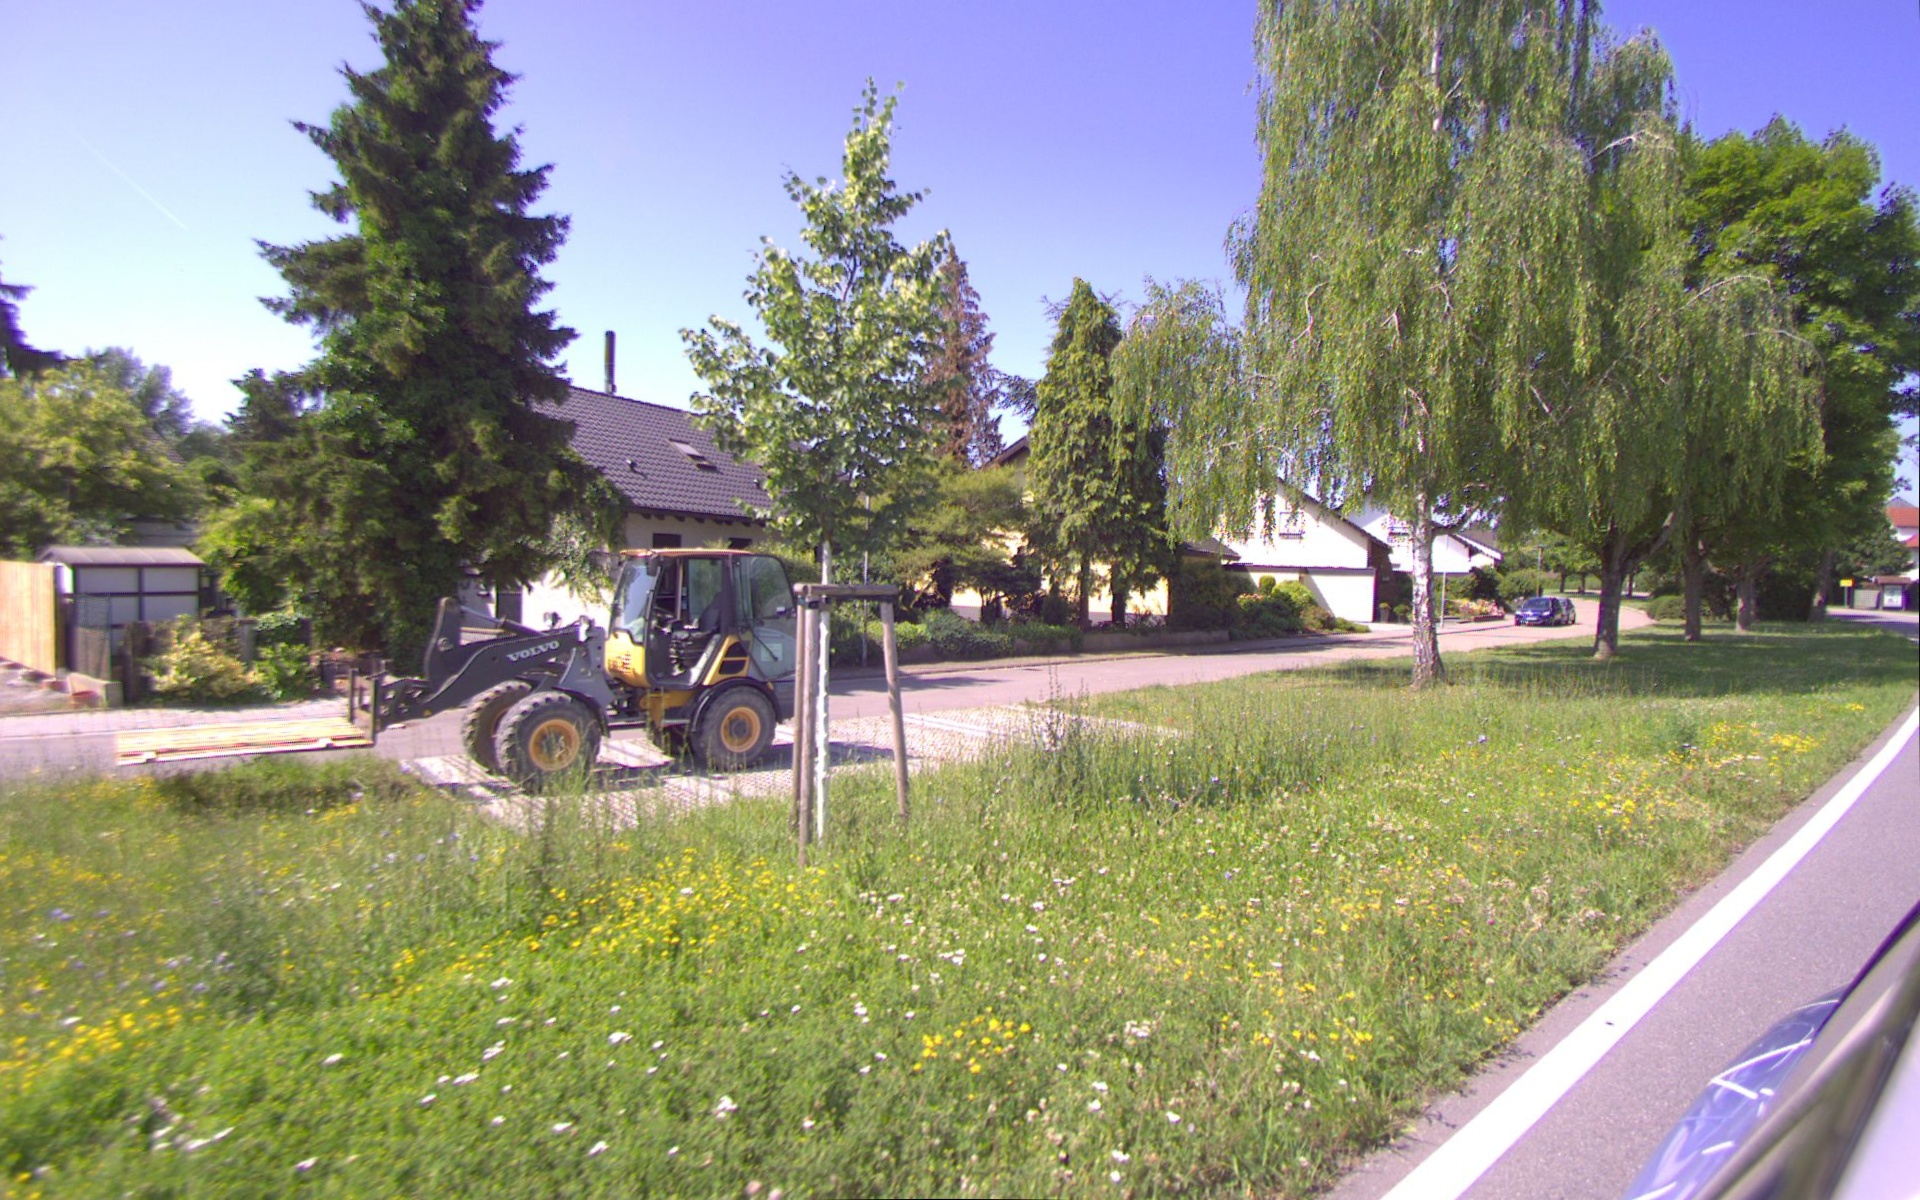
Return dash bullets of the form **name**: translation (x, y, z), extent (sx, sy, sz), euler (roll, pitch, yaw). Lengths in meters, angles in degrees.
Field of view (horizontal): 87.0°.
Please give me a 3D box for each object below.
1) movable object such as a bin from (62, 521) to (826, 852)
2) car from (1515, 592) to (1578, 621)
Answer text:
- **movable object such as a bin**: translation (-4.924, 0.599, 10.749), extent (6.824, 2.494, 2.320), euler (-1, 1, -41)
- **car**: translation (30.943, 0.327, 53.355), extent (4.100, 1.463, 1.859), euler (-1, 1, -44)
